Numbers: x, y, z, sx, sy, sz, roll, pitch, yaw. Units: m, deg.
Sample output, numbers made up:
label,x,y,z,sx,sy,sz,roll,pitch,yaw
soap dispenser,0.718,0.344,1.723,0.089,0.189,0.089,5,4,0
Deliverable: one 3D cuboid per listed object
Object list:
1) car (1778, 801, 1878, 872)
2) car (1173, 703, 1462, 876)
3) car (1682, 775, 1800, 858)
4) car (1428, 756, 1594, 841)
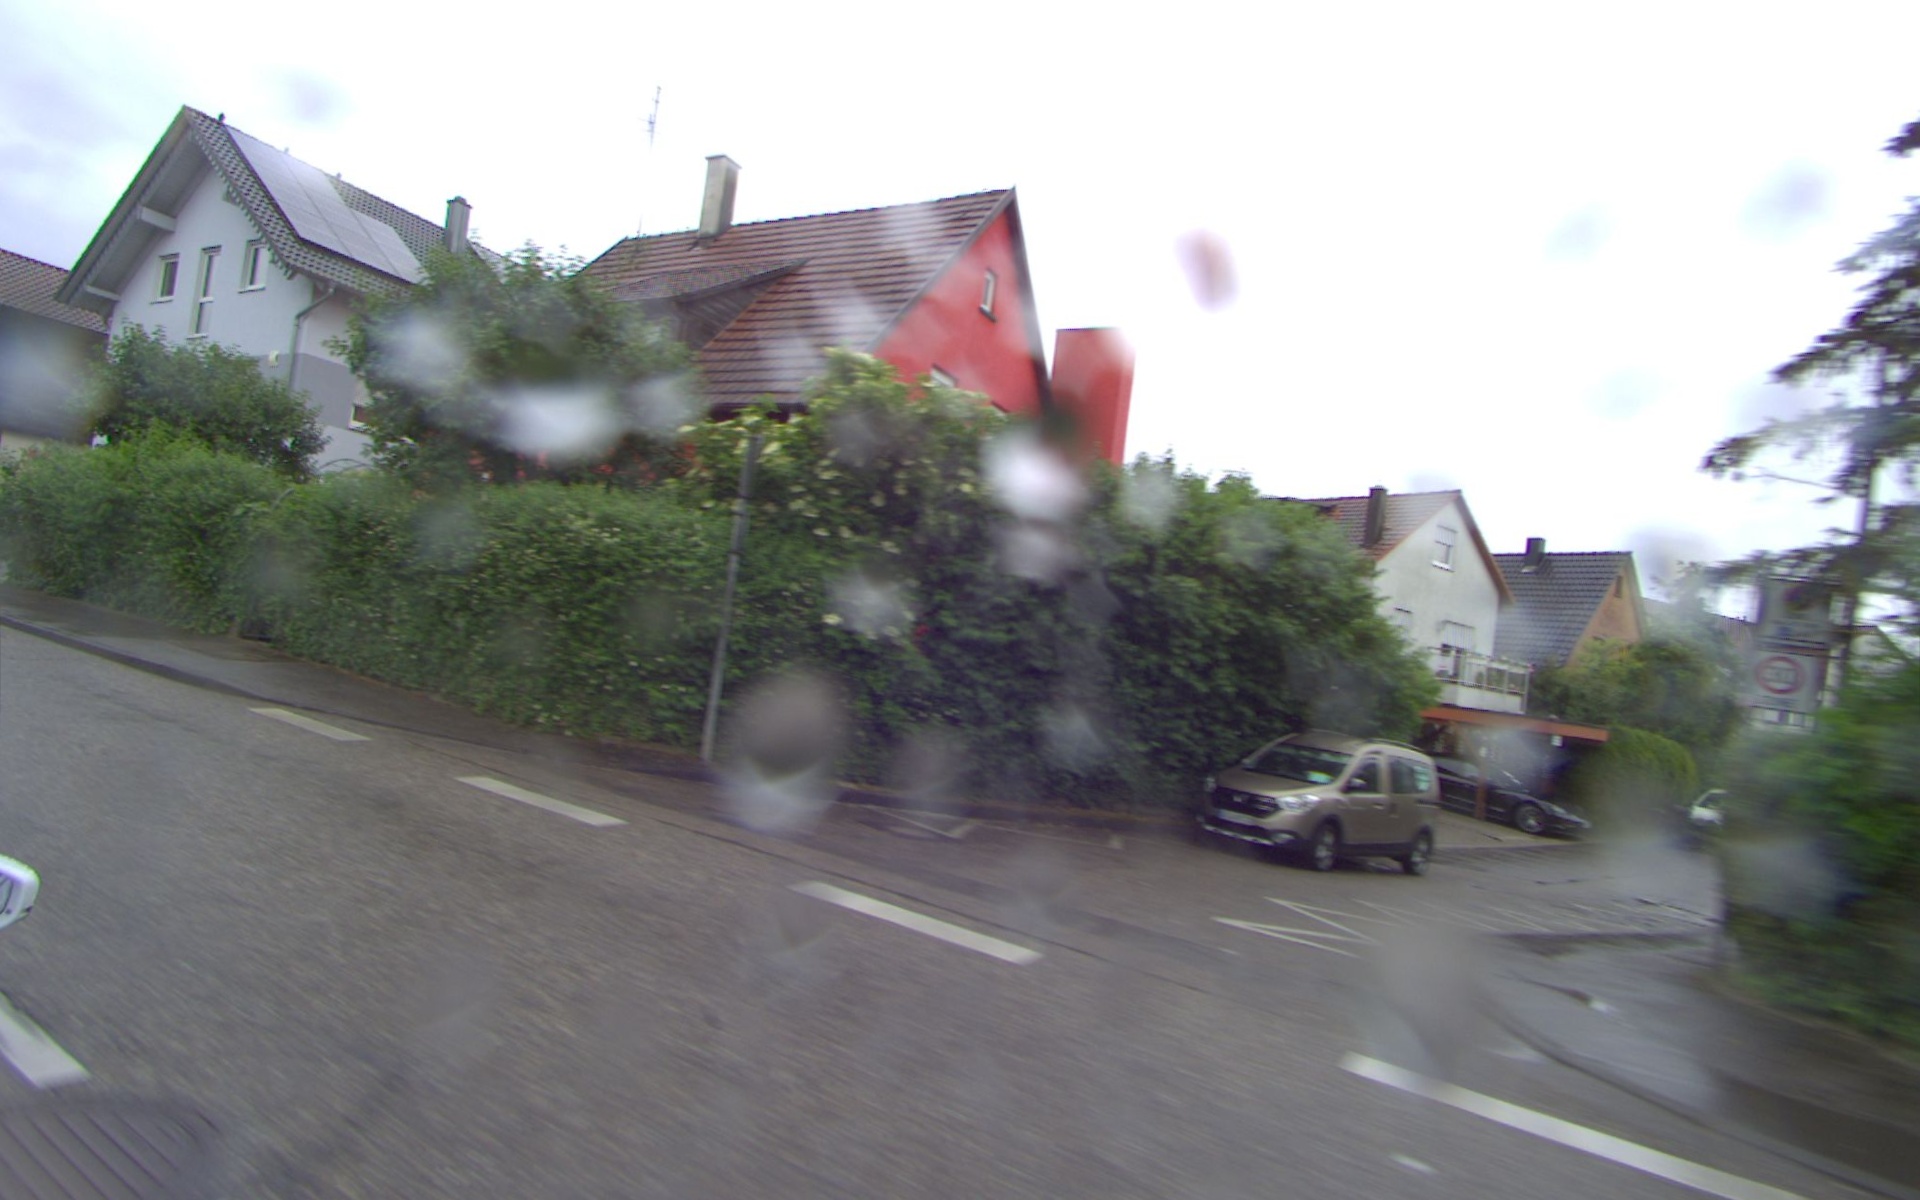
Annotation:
label,x,y,z,sx,sy,sz,roll,pitch,yaw
car,27.720,7.560,32.088,3.977,1.700,1.613,15,-8,-37
car,5.099,2.701,14.041,4.272,1.767,1.767,14,-5,-40
car,21.834,6.065,28.083,3.977,1.700,1.613,15,-8,-37
car,13.529,4.857,24.834,1.504,1.310,3.150,11,-2,-31
